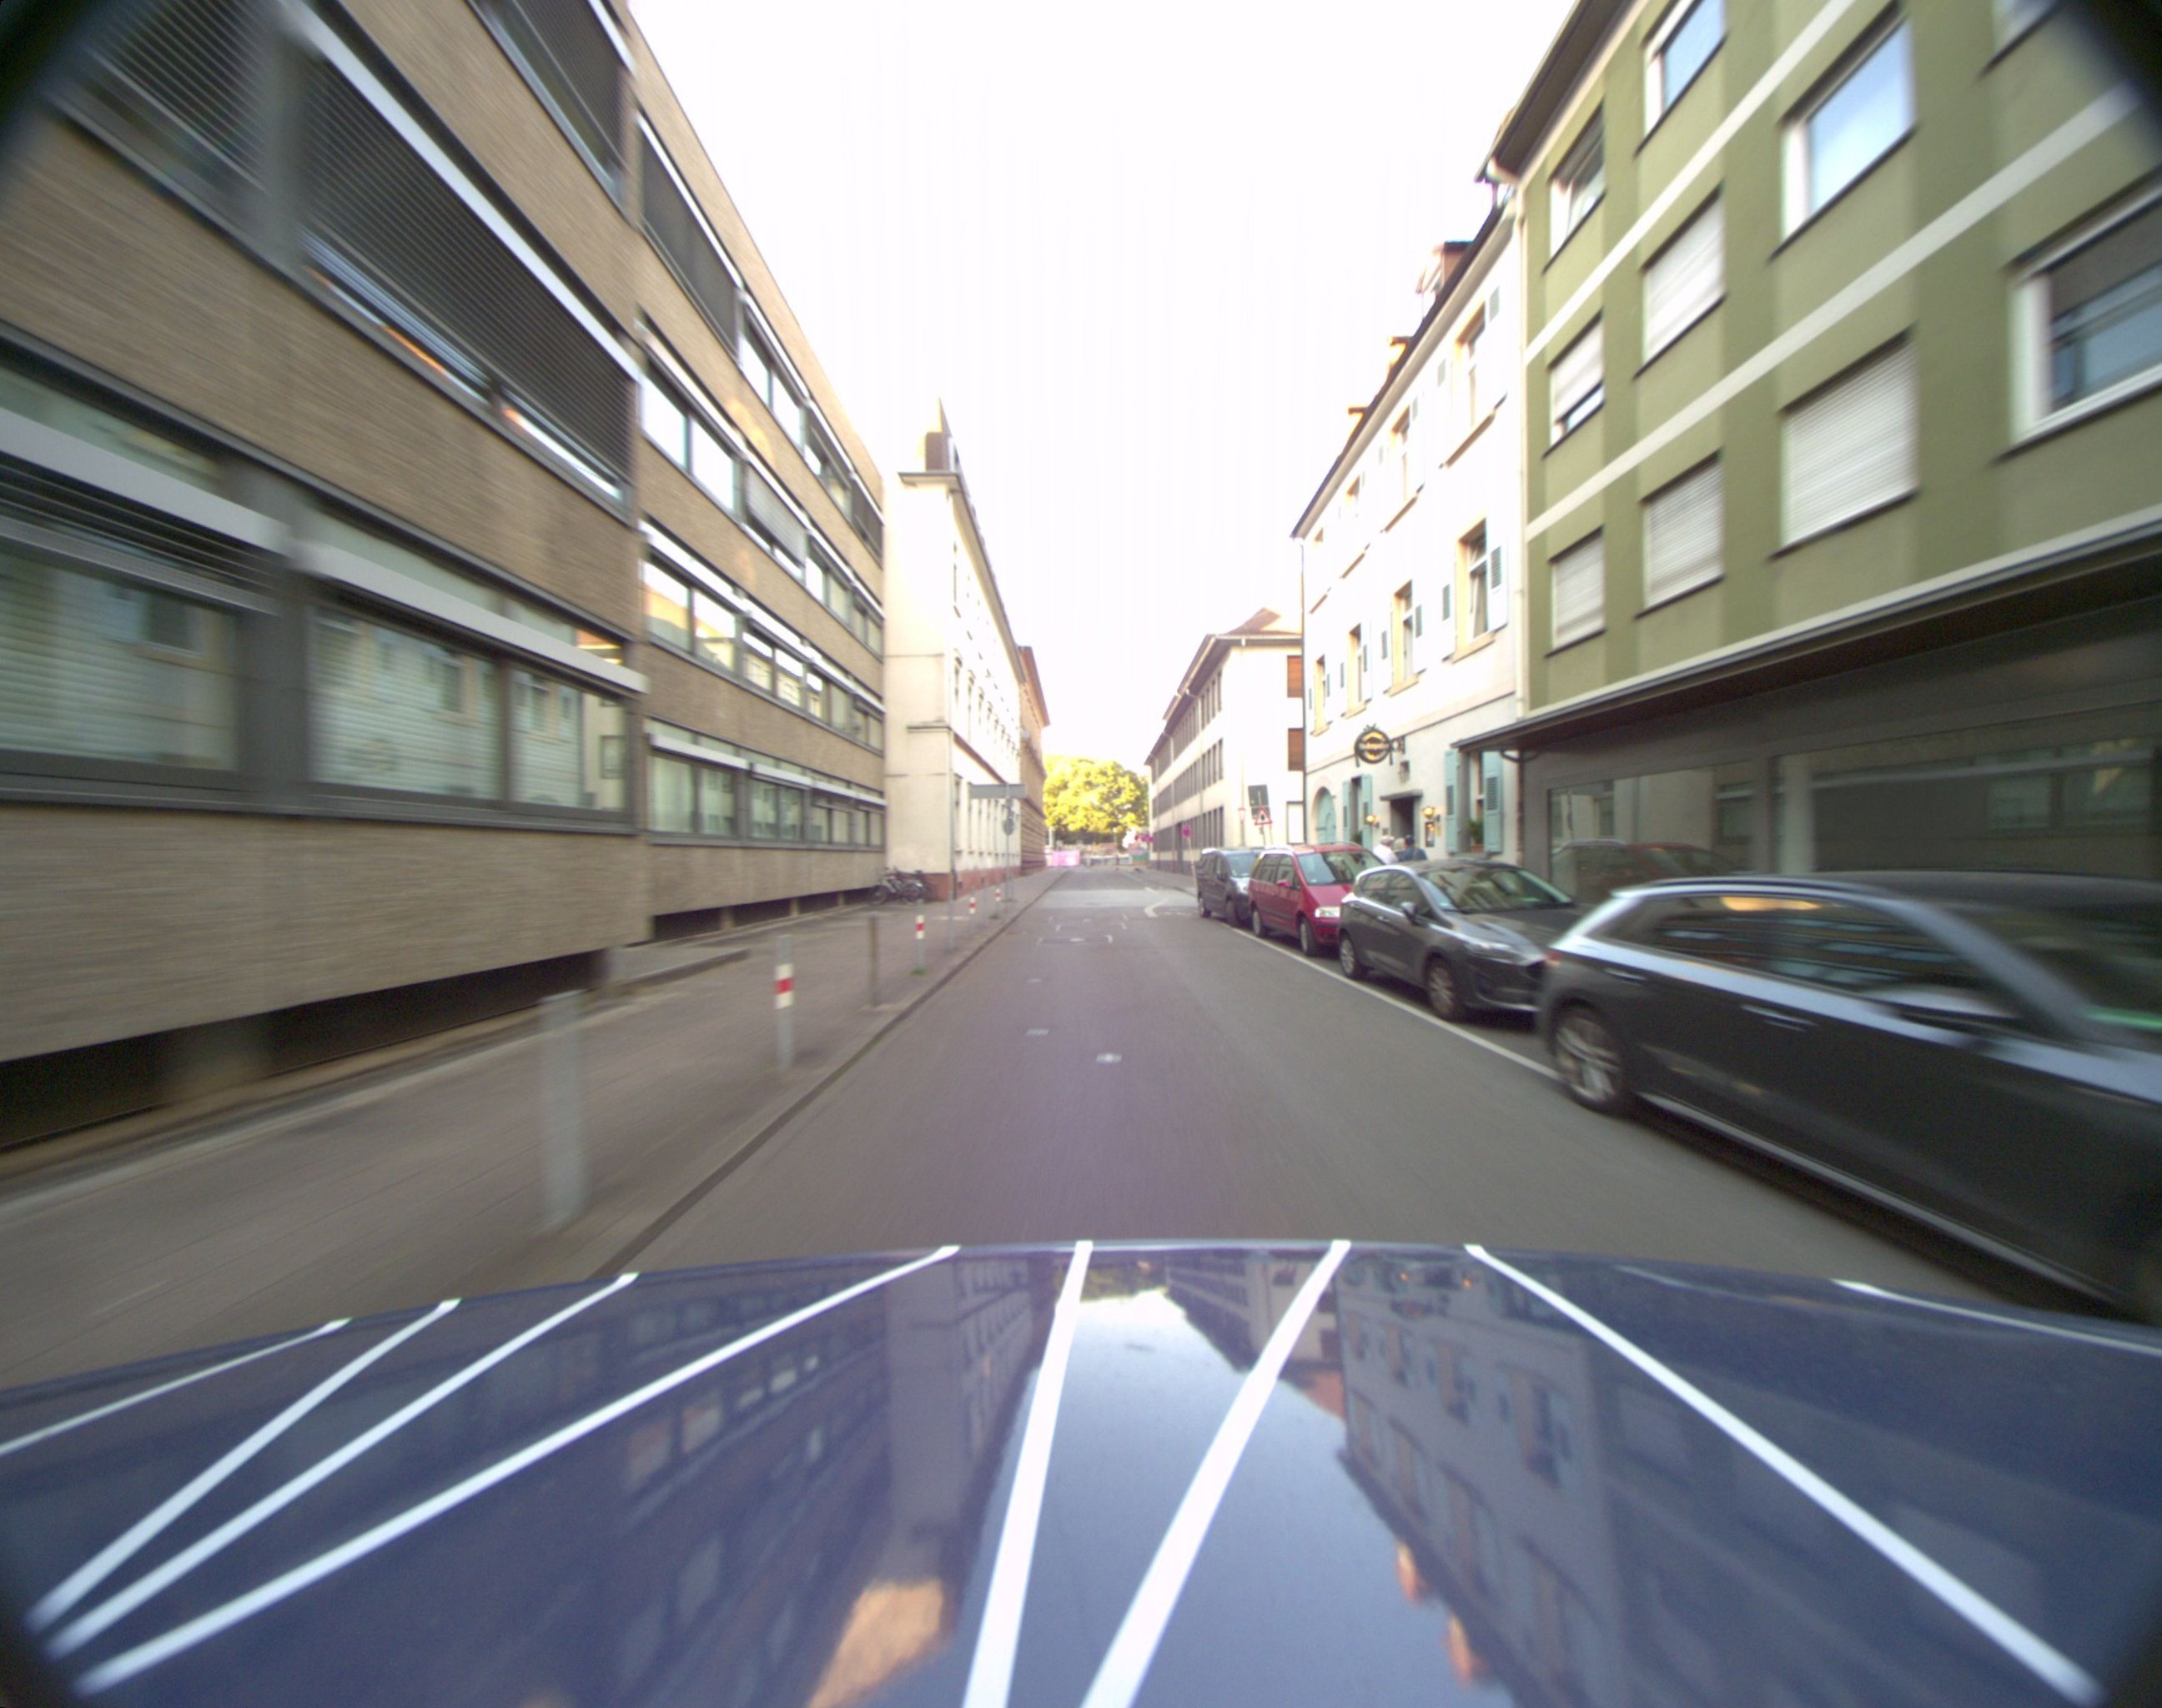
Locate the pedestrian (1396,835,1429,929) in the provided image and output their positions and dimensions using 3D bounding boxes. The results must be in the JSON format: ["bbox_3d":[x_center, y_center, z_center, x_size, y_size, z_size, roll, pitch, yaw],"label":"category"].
[{"bbox_3d":[6.245,0.526,14.314,0.407,1.740,0.470,-1,1,2],"label":"pedestrian"}]

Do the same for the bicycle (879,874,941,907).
[{"bbox_3d":[-5.272,1.121,23.519,1.801,0.917,0.538,-1,1,-7],"label":"bicycle"}]

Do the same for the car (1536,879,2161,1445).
[{"bbox_3d":[3.752,0.896,2.848,1.628,1.407,3.980,-2,0,-1],"label":"car"}]

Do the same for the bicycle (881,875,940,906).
[{"bbox_3d":[-5.433,1.168,24.277,1.801,0.917,0.516,-1,1,-7],"label":"bicycle"}]

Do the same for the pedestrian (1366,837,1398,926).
[{"bbox_3d":[5.991,0.540,15.136,0.450,1.740,0.470,-1,1,2],"label":"pedestrian"}]

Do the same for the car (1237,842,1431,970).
[{"bbox_3d":[4.116,0.746,13.215,1.777,1.800,4.509,-2,0,-1],"label":"car"}]

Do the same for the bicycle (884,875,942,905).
[{"bbox_3d":[-5.488,1.166,24.847,1.800,0.917,0.396,-1,1,-4],"label":"bicycle"}]

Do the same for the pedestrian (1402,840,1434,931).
[{"bbox_3d":[6.574,0.603,14.833,0.407,1.740,0.470,-1,1,2],"label":"pedestrian"}]

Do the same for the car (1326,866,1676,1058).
[{"bbox_3d":[4.056,0.913,8.142,1.628,1.476,3.877,0,0,0],"label":"car"}]

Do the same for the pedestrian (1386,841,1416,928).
[{"bbox_3d":[6.487,0.608,15.424,0.407,1.740,0.470,-1,1,2],"label":"pedestrian"}]

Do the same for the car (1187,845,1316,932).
[{"bbox_3d":[3.937,0.722,18.347,1.882,1.800,4.449,-2,0,-3],"label":"car"}]

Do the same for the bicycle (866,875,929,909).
[{"bbox_3d":[-5.458,1.129,22.705,1.745,0.917,0.538,-1,1,-7],"label":"bicycle"}]
